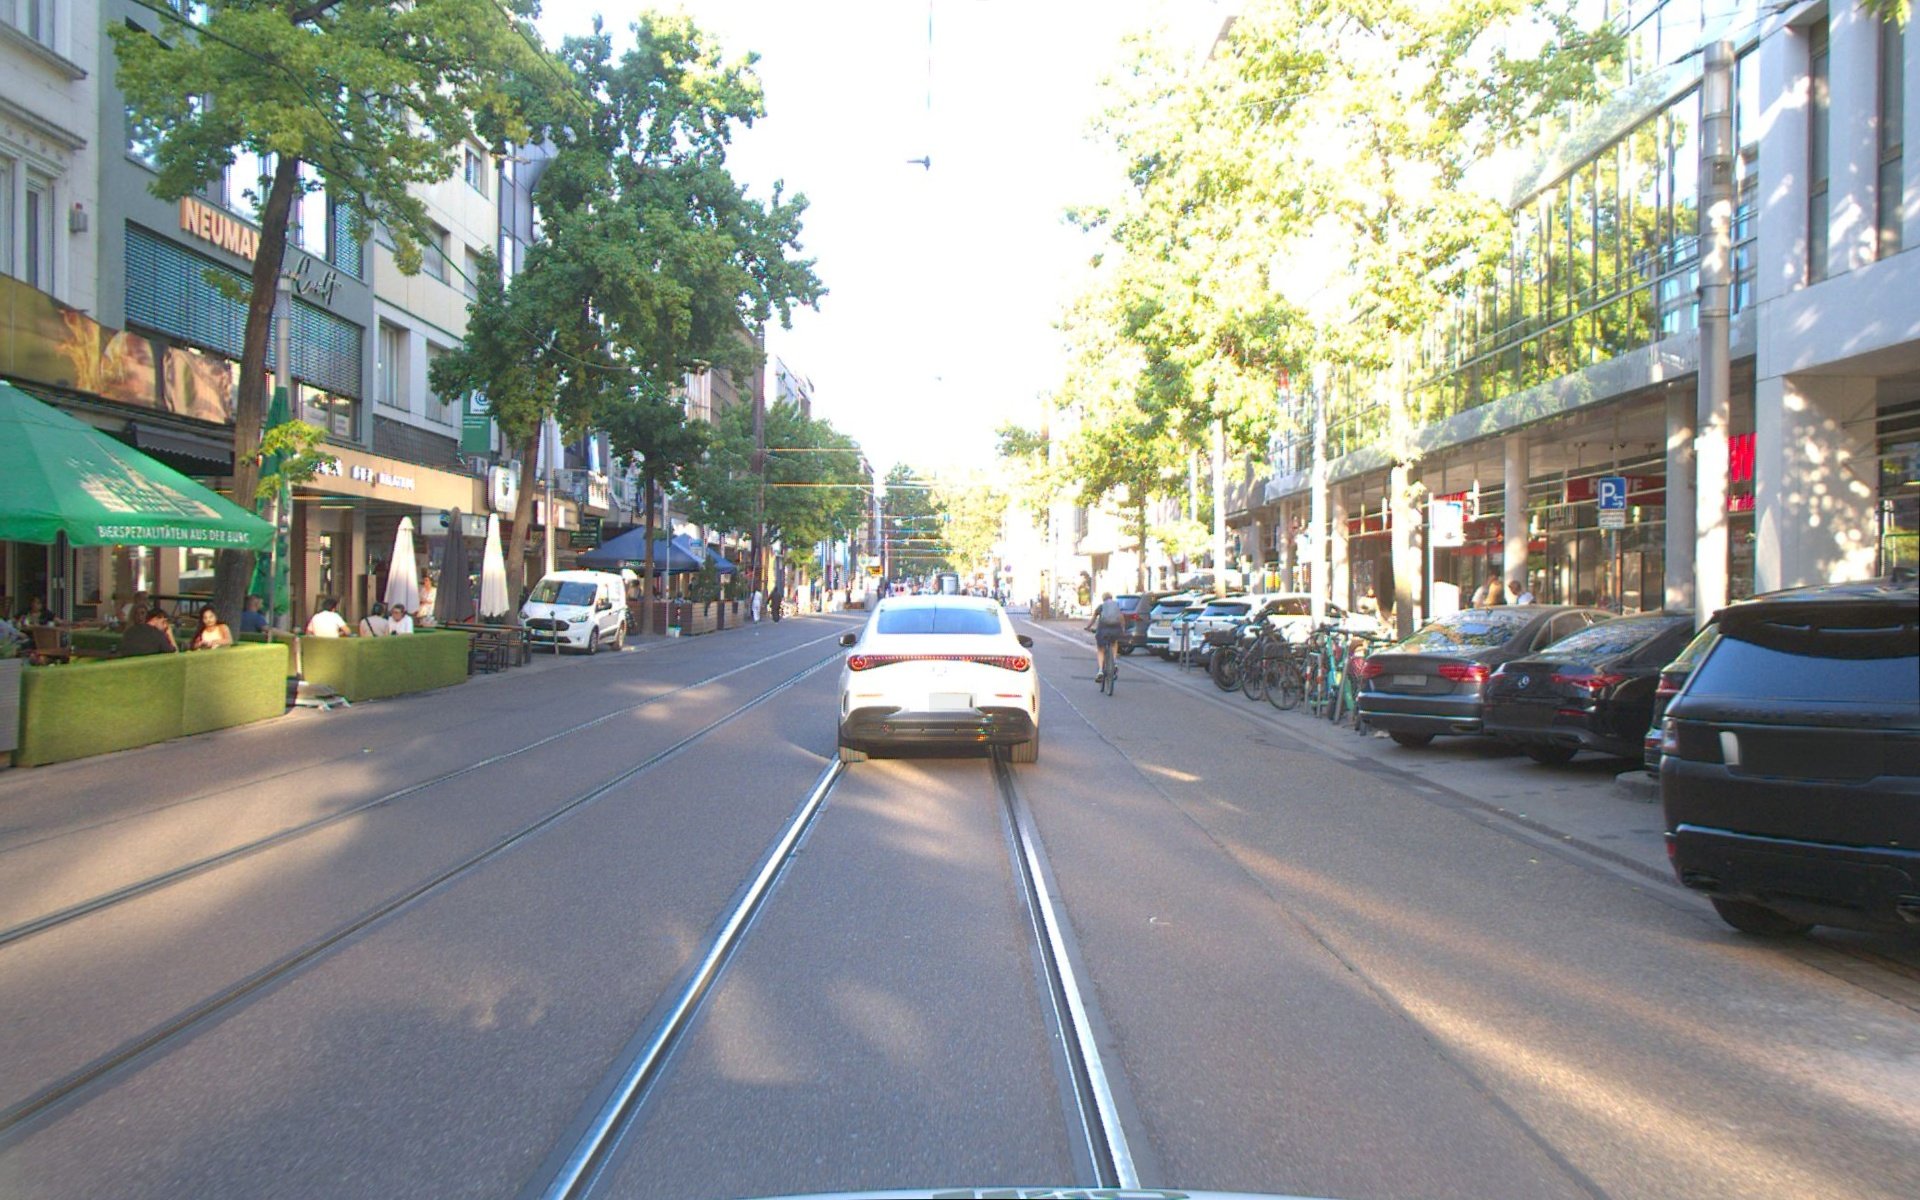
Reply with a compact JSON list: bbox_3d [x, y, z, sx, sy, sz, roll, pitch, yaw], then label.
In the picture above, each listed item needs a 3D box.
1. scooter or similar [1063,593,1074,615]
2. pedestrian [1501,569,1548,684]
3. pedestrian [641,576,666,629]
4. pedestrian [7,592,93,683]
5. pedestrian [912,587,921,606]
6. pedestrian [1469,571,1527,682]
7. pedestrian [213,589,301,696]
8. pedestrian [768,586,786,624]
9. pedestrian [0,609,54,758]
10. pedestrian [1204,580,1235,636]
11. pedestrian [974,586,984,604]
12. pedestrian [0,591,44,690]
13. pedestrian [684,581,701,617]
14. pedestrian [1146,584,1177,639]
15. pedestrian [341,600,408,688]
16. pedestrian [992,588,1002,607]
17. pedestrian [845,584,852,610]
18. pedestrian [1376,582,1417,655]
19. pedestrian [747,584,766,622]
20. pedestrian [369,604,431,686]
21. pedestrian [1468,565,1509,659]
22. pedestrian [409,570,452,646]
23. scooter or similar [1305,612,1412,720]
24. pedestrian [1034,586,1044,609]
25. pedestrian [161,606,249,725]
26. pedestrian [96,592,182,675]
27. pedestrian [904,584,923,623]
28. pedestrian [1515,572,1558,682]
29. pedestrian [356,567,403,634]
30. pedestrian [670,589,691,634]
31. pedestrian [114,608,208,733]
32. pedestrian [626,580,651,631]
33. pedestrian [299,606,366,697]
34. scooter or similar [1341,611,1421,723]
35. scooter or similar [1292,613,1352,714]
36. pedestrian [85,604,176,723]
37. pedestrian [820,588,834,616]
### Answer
[{"bbox_3d":[6.415,0.255,98.008,0.482,1.299,0.658,-2,0,-11],"label":"scooter or similar"},{"bbox_3d":[8.976,0.414,26.302,0.512,1.781,0.559,-2,0,1],"label":"pedestrian"},{"bbox_3d":[-10.392,0.091,56.076,0.703,1.755,0.675,1,0,-2],"label":"pedestrian"},{"bbox_3d":[-12.554,0.509,22.826,0.686,1.188,0.788,3,0,-1],"label":"pedestrian"},{"bbox_3d":[-4.179,-0.338,160.191,0.784,1.813,0.849,2,0,-2],"label":"pedestrian"},{"bbox_3d":[8.468,0.415,26.039,0.667,1.726,0.548,1,0,-13],"label":"pedestrian"},{"bbox_3d":[-9.442,0.553,22.235,0.739,1.367,0.872,3,0,-1],"label":"pedestrian"},{"bbox_3d":[-7.673,0.198,69.343,0.609,1.577,0.852,3,0,0],"label":"pedestrian"},{"bbox_3d":[-8.735,0.729,14.865,0.693,1.281,0.772,2,0,2],"label":"pedestrian"},{"bbox_3d":[8.208,0.257,52.326,0.677,1.761,0.629,-2,0,42],"label":"pedestrian"},{"bbox_3d":[1.890,-0.494,161.642,0.941,1.816,0.803,-1,0,-1],"label":"pedestrian"},{"bbox_3d":[-12.516,0.507,21.493,0.721,1.235,0.788,3,0,-1],"label":"pedestrian"},{"bbox_3d":[-11.997,-0.040,74.216,0.585,1.559,0.671,2,0,0],"label":"pedestrian"},{"bbox_3d":[6.383,0.354,52.396,0.667,1.715,0.694,-2,0,33],"label":"pedestrian"},{"bbox_3d":[-8.850,0.648,25.035,0.643,1.266,0.872,3,0,-1],"label":"pedestrian"},{"bbox_3d":[3.582,-0.229,160.400,0.941,1.816,0.803,-1,0,-1],"label":"pedestrian"},{"bbox_3d":[-8.481,-0.235,125.872,0.560,1.962,0.540,0,0,-5],"label":"pedestrian"},{"bbox_3d":[10.006,0.419,37.956,0.699,1.652,0.882,-1,0,1],"label":"pedestrian"},{"bbox_3d":[-8.475,0.133,68.776,0.609,1.535,0.833,3,0,0],"label":"pedestrian"},{"bbox_3d":[-8.752,0.694,25.882,0.643,1.214,0.798,3,0,-1],"label":"pedestrian"},{"bbox_3d":[10.120,0.228,31.686,0.545,1.781,0.525,-2,0,0],"label":"pedestrian"},{"bbox_3d":[-11.478,0.174,35.850,0.634,1.601,0.700,3,0,-1],"label":"pedestrian"},{"bbox_3d":[5.181,0.843,21.480,1.290,1.298,0.558,-3,0,-32],"label":"scooter or similar"},{"bbox_3d":[6.205,-0.192,129.755,0.733,1.816,0.766,-1,0,-1],"label":"pedestrian"},{"bbox_3d":[-8.481,0.722,18.595,0.606,1.266,0.697,3,0,-1],"label":"pedestrian"},{"bbox_3d":[-12.606,0.506,25.419,0.737,1.209,1.065,3,0,-1],"label":"pedestrian"},{"bbox_3d":[-2.234,0.156,79.664,0.824,1.832,0.790,2,0,1],"label":"pedestrian"},{"bbox_3d":[9.193,0.424,26.380,0.506,1.726,0.550,1,0,4],"label":"pedestrian"},{"bbox_3d":[-13.399,0.006,38.220,0.754,1.492,0.764,3,0,-3],"label":"pedestrian"},{"bbox_3d":[-8.798,0.363,52.063,0.538,1.380,0.582,1,0,-1],"label":"pedestrian"},{"bbox_3d":[-8.546,0.741,17.714,0.606,1.266,0.697,3,0,-1],"label":"pedestrian"},{"bbox_3d":[-10.532,0.169,54.260,0.659,1.635,0.719,1,0,-1],"label":"pedestrian"},{"bbox_3d":[-9.499,0.770,25.052,0.643,1.315,0.798,3,0,-1],"label":"pedestrian"},{"bbox_3d":[5.287,0.826,20.739,0.449,1.298,1.302,-3,0,36],"label":"scooter or similar"},{"bbox_3d":[4.916,0.845,22.511,0.441,1.298,1.306,-3,0,-1],"label":"scooter or similar"},{"bbox_3d":[-9.293,0.701,18.552,0.606,1.266,0.697,3,0,-1],"label":"pedestrian"},{"bbox_3d":[-8.557,0.124,106.523,0.771,1.832,0.844,0,0,1],"label":"pedestrian"}]
